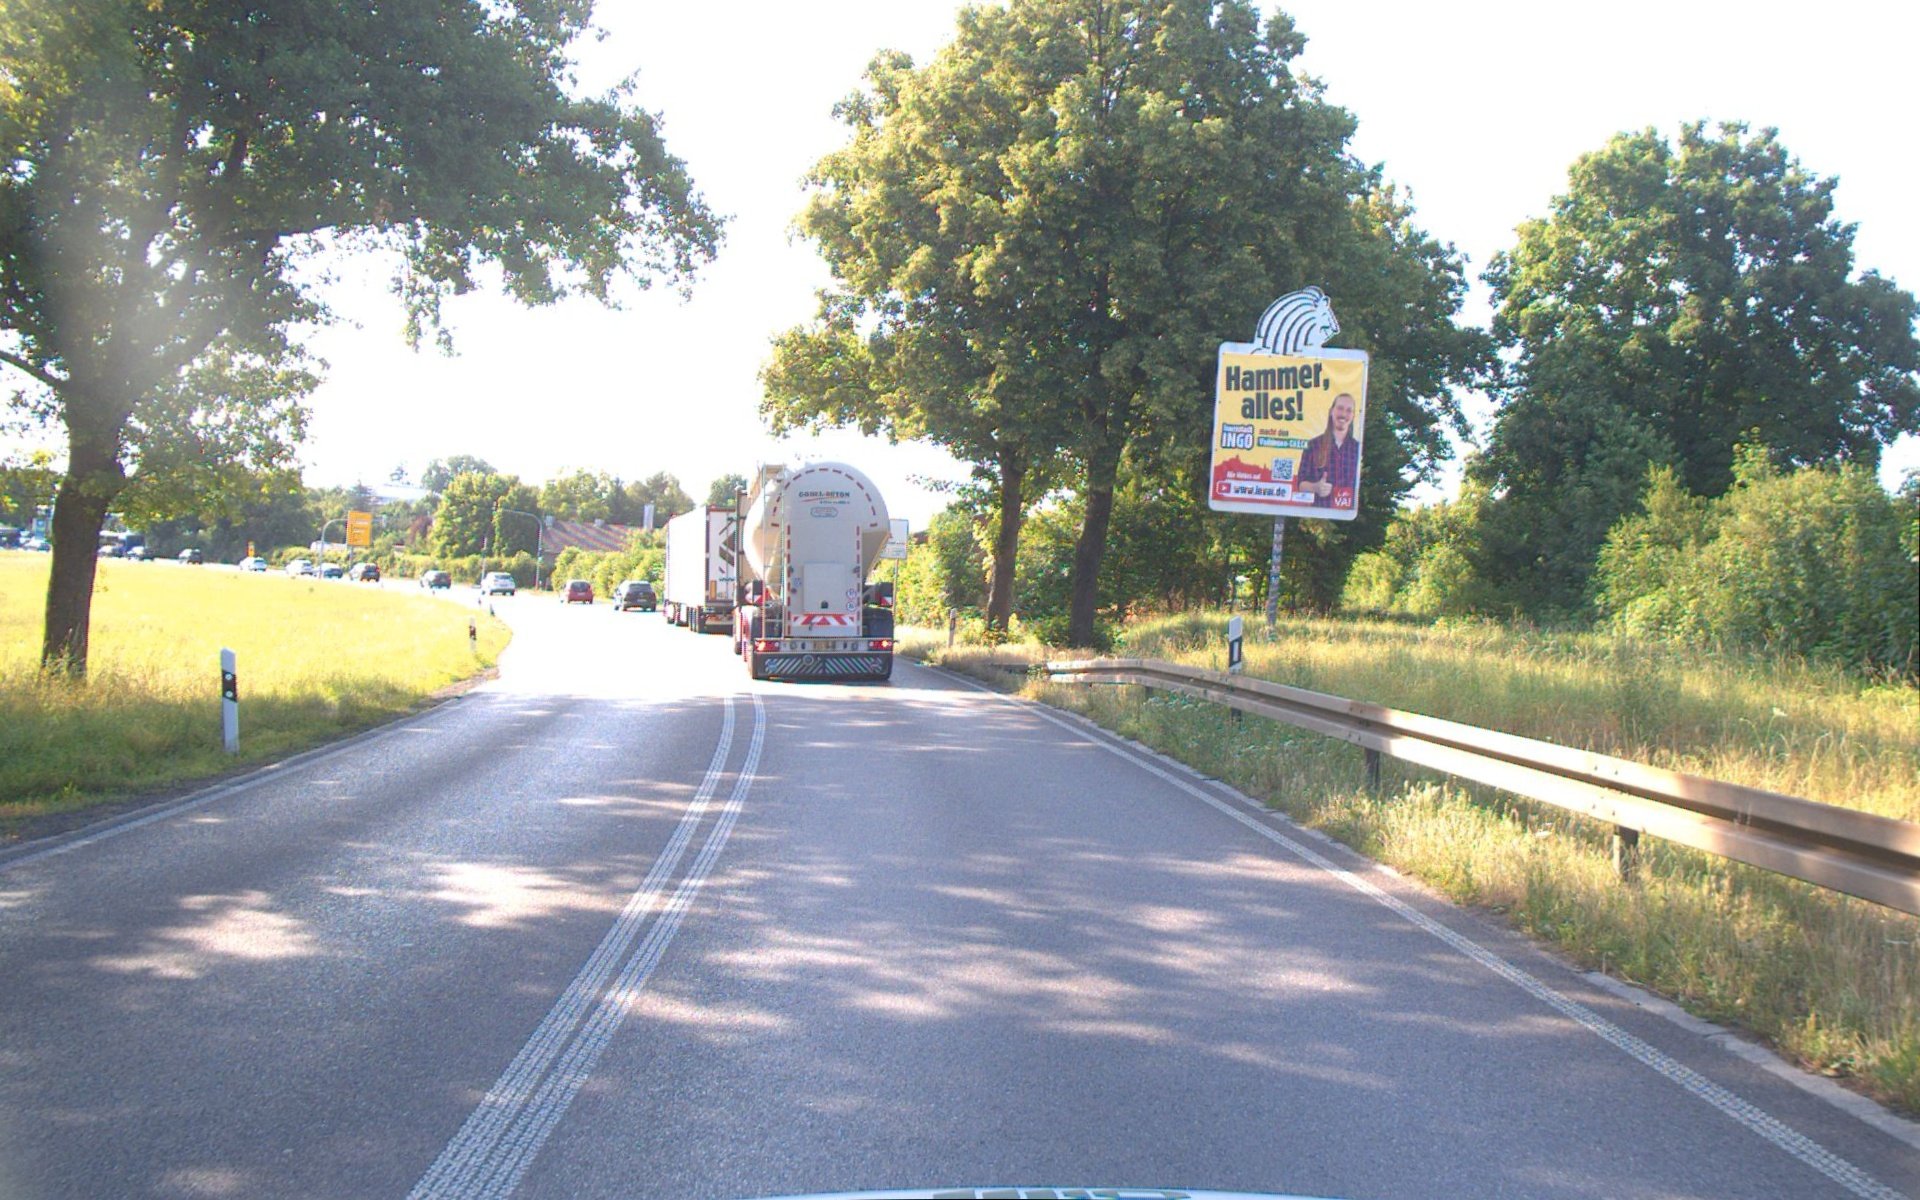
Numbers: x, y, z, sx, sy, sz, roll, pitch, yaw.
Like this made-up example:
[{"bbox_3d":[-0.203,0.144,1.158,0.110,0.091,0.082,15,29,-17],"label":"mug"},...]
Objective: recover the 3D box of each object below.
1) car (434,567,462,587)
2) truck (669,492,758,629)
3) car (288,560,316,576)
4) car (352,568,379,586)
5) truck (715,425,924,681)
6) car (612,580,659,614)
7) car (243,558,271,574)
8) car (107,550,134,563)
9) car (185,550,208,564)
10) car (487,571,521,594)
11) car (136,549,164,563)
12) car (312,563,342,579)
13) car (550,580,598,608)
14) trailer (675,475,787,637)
[{"bbox_3d":[-43.318,-1.937,139.819,1.502,1.685,3.836,1,0,-29],"label":"car"},{"bbox_3d":[-9.591,-1.434,63.801,2.911,4.972,6.410,1,0,-12],"label":"truck"},{"bbox_3d":[-69.273,-3.394,174.130,1.668,1.586,3.818,1,0,-39],"label":"car"},{"bbox_3d":[-57.123,-2.176,158.918,1.506,1.685,3.826,1,0,-34],"label":"car"},{"bbox_3d":[-3.193,-0.762,33.613,2.923,4.248,11.630,1,0,-11],"label":"truck"},{"bbox_3d":[-17.197,-0.159,87.460,1.963,1.685,3.980,1,0,-18],"label":"car"},{"bbox_3d":[-78.519,-3.765,184.711,1.963,1.685,3.818,1,0,-39],"label":"car"},{"bbox_3d":[-108.023,-5.549,212.797,2.076,1.627,3.936,1,0,-44],"label":"car"},{"bbox_3d":[-93.177,-5.233,201.752,1.715,1.685,3.820,1,0,-38],"label":"car"},{"bbox_3d":[-34.343,-1.305,124.522,1.818,1.685,3.968,1,0,-25],"label":"car"},{"bbox_3d":[-100.960,-5.542,206.082,2.076,1.627,3.936,1,1,-44],"label":"car"},{"bbox_3d":[-63.980,-2.925,167.145,1.668,1.586,3.818,1,0,-39],"label":"car"},{"bbox_3d":[-24.313,-0.383,104.064,2.267,1.685,4.385,1,0,-22],"label":"car"},{"bbox_3d":[-7.979,-1.358,56.497,2.912,4.967,10.255,1,0,-12],"label":"trailer"}]
